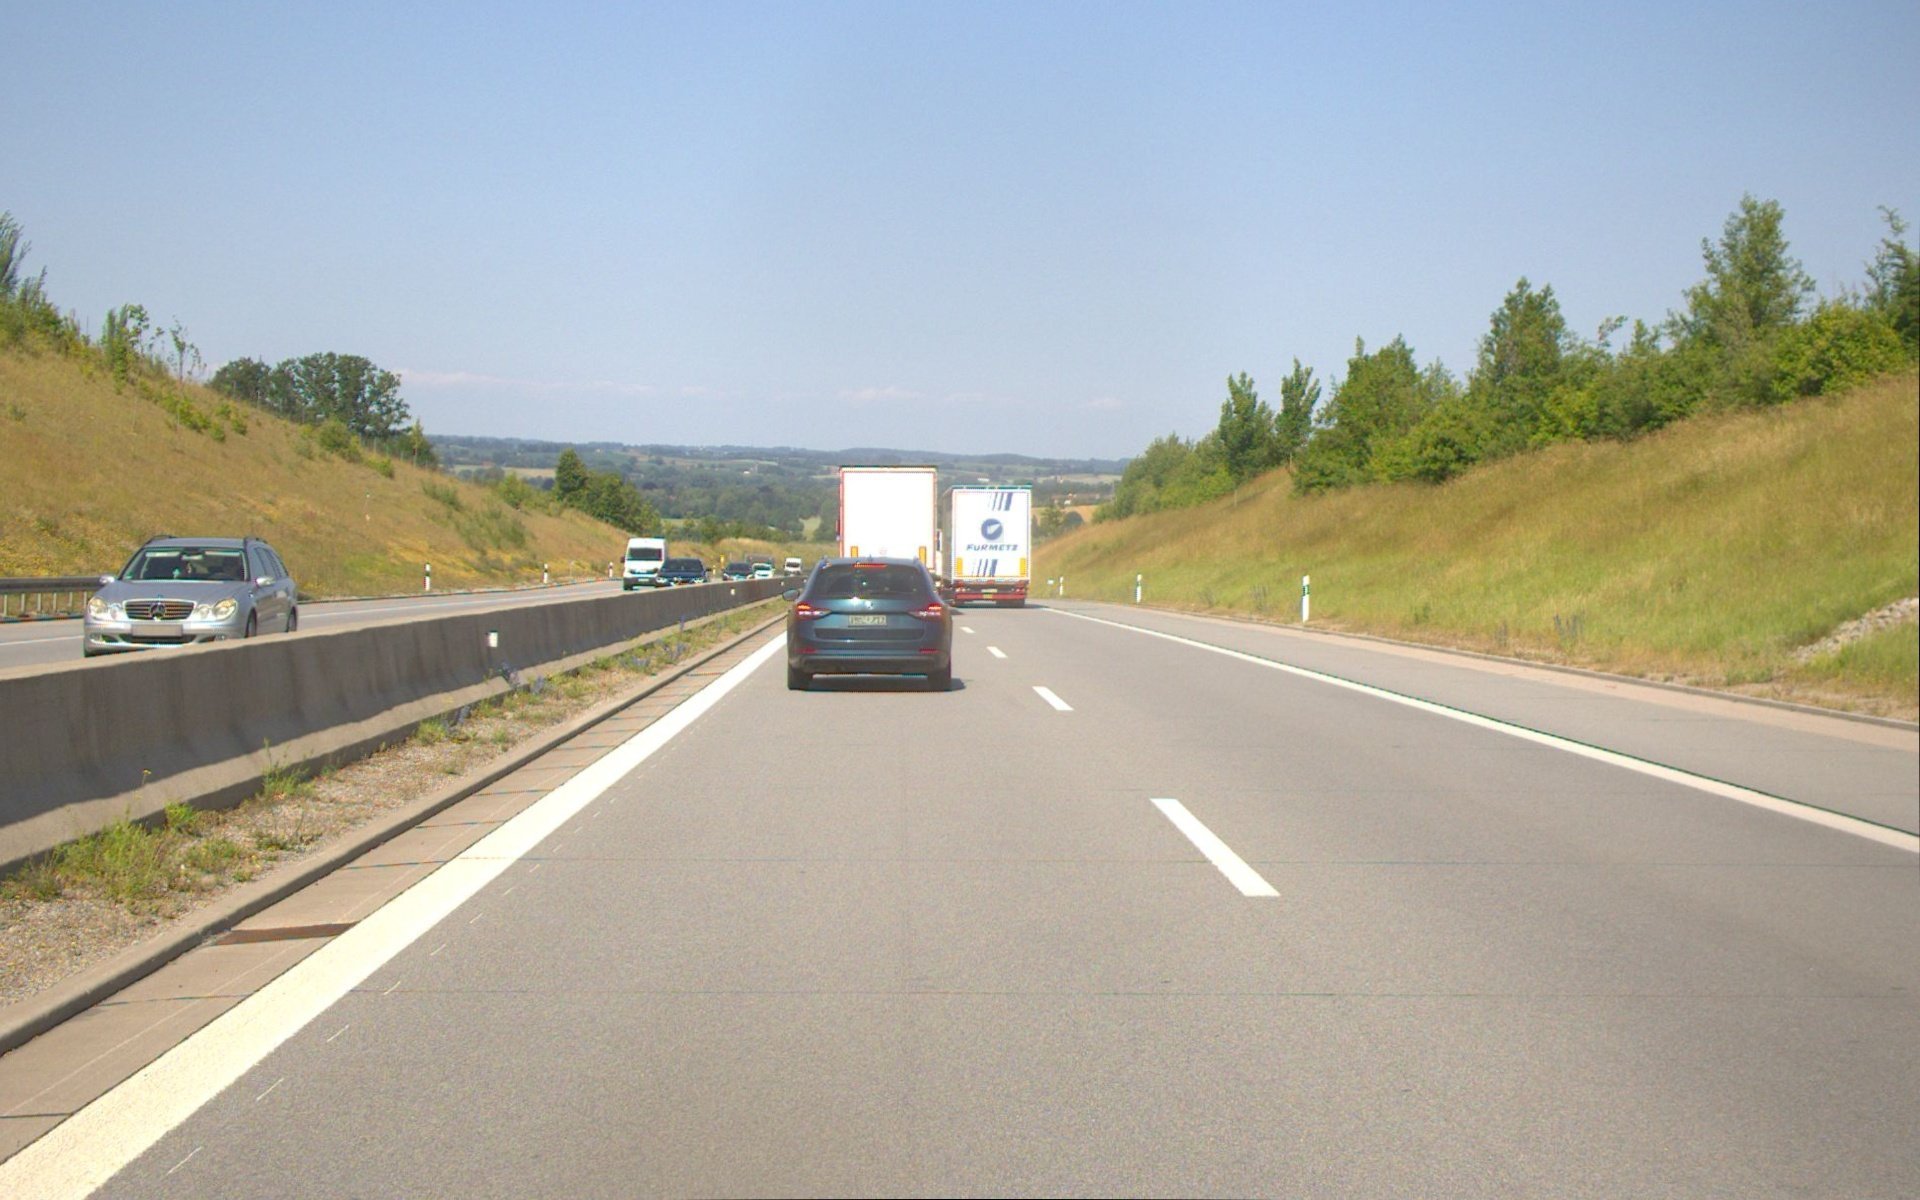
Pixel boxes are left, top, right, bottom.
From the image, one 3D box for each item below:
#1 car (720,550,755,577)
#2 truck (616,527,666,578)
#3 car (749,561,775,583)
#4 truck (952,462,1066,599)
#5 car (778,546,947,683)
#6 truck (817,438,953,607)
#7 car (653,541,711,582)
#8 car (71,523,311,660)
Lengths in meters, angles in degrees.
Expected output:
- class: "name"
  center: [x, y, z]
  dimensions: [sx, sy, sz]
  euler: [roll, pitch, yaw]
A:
- class: "car"
  center: [-12.662, -2.086, 195.821]
  dimensions: [1.853, 1.456, 4.333]
  euler: [1, 1, -2]
- class: "truck"
  center: [-15.631, -2.332, 168.609]
  dimensions: [2.112, 2.452, 5.952]
  euler: [1, 1, -2]
- class: "car"
  center: [-14.789, -2.101, 257.068]
  dimensions: [1.775, 1.596, 4.040]
  euler: [1, 1, -2]
- class: "truck"
  center: [1.692, -2.324, 116.570]
  dimensions: [3.604, 4.366, 11.233]
  euler: [1, 1, 1]
- class: "car"
  center: [-1.113, 0.127, 38.123]
  dimensions: [1.776, 1.436, 3.789]
  euler: [0, 1, -3]
- class: "truck"
  center: [-1.990, -2.103, 95.732]
  dimensions: [3.211, 4.366, 11.233]
  euler: [1, 1, 1]
- class: "car"
  center: [-10.082, -1.411, 124.924]
  dimensions: [1.853, 1.456, 4.769]
  euler: [1, 1, -2]
- class: "car"
  center: [-8.828, -0.132, 39.837]
  dimensions: [1.853, 1.456, 4.728]
  euler: [1, 1, -2]
